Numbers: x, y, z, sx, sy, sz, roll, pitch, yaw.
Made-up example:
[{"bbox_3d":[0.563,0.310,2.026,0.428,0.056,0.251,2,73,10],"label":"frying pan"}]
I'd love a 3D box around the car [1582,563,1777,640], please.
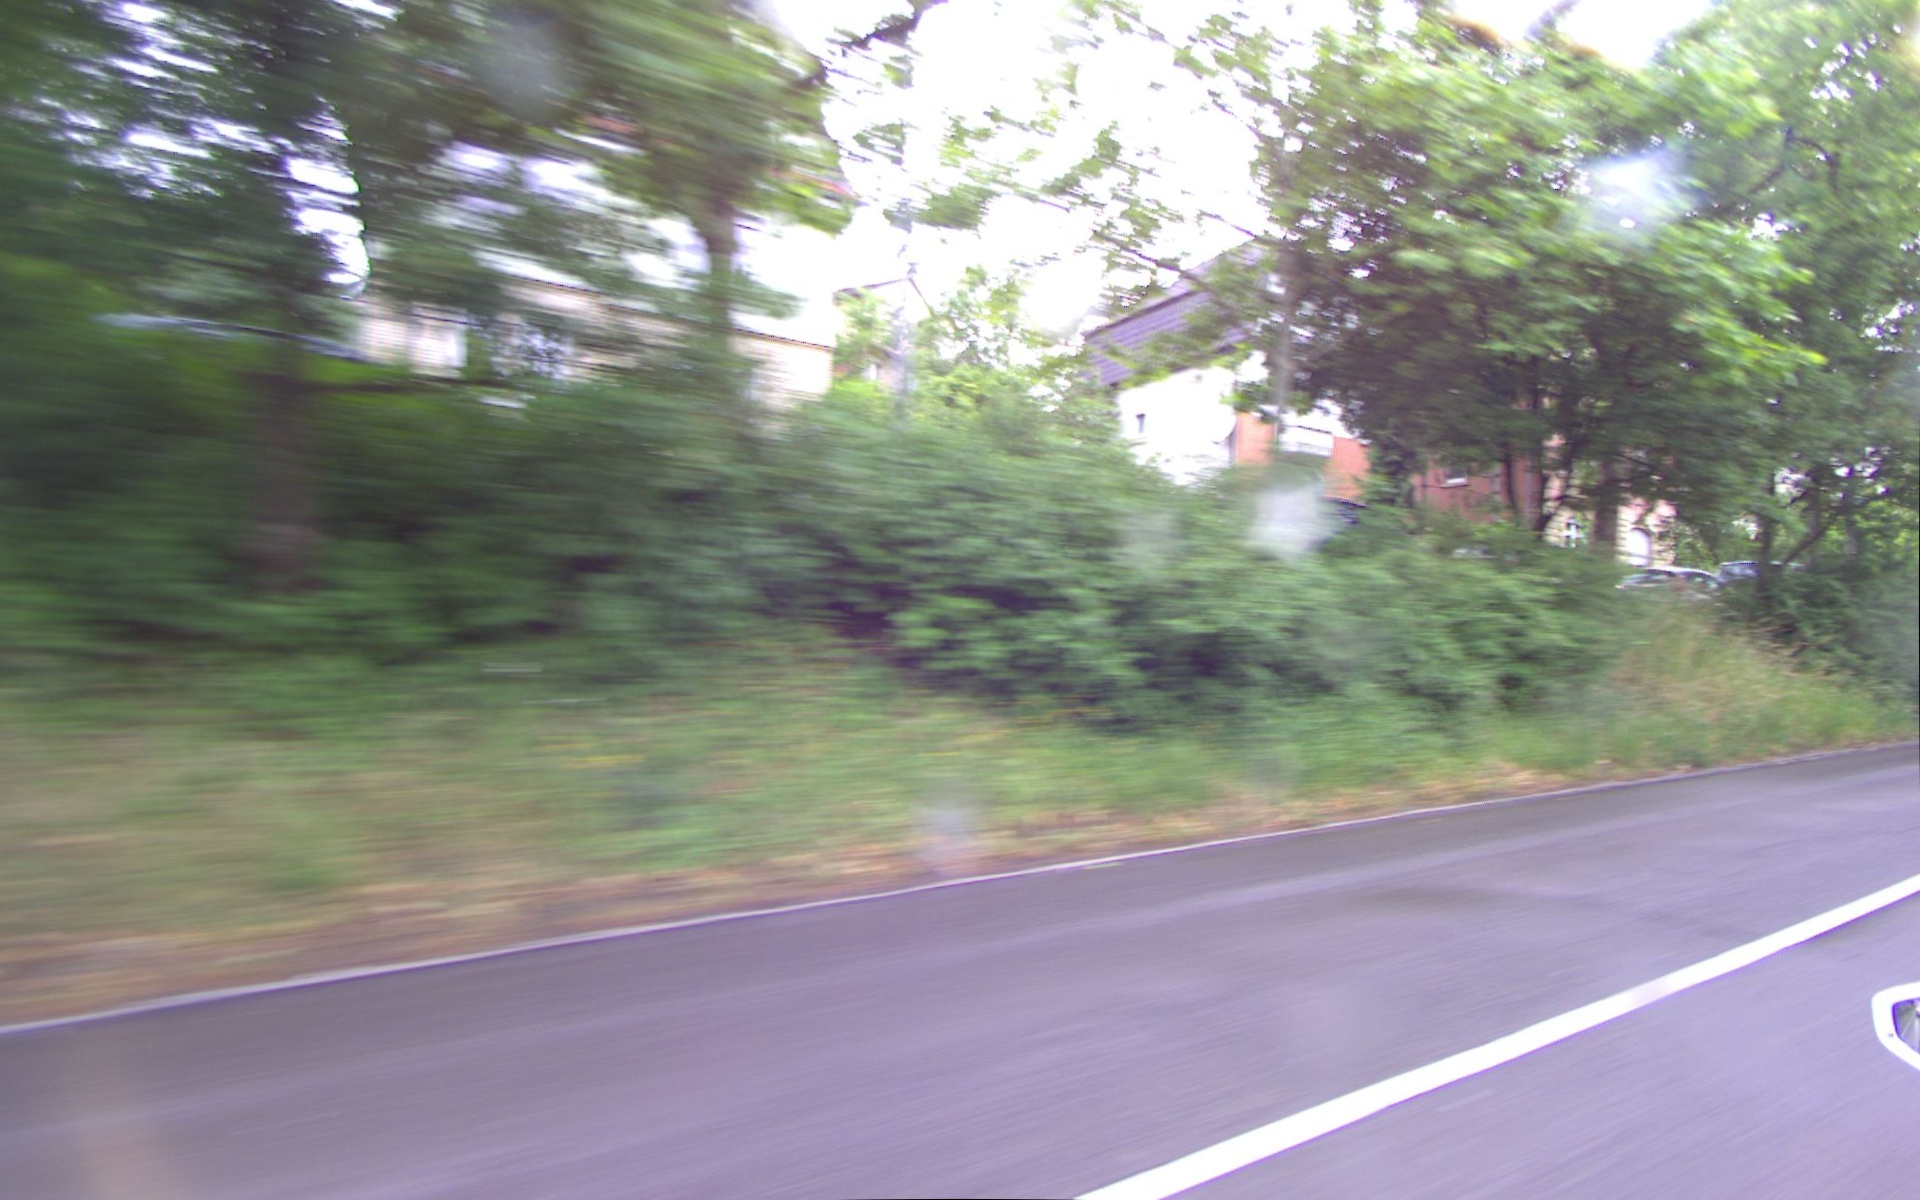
[{"bbox_3d":[16.391,0.070,22.850,4.571,1.578,1.822,2,0,-29],"label":"car"}]

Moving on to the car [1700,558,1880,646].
[{"bbox_3d":[21.097,0.075,25.506,4.571,2.040,1.984,2,0,-29],"label":"car"}]

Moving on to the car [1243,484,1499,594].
[{"bbox_3d":[7.104,-0.959,17.273,4.234,1.578,1.822,2,0,-29],"label":"car"}]
